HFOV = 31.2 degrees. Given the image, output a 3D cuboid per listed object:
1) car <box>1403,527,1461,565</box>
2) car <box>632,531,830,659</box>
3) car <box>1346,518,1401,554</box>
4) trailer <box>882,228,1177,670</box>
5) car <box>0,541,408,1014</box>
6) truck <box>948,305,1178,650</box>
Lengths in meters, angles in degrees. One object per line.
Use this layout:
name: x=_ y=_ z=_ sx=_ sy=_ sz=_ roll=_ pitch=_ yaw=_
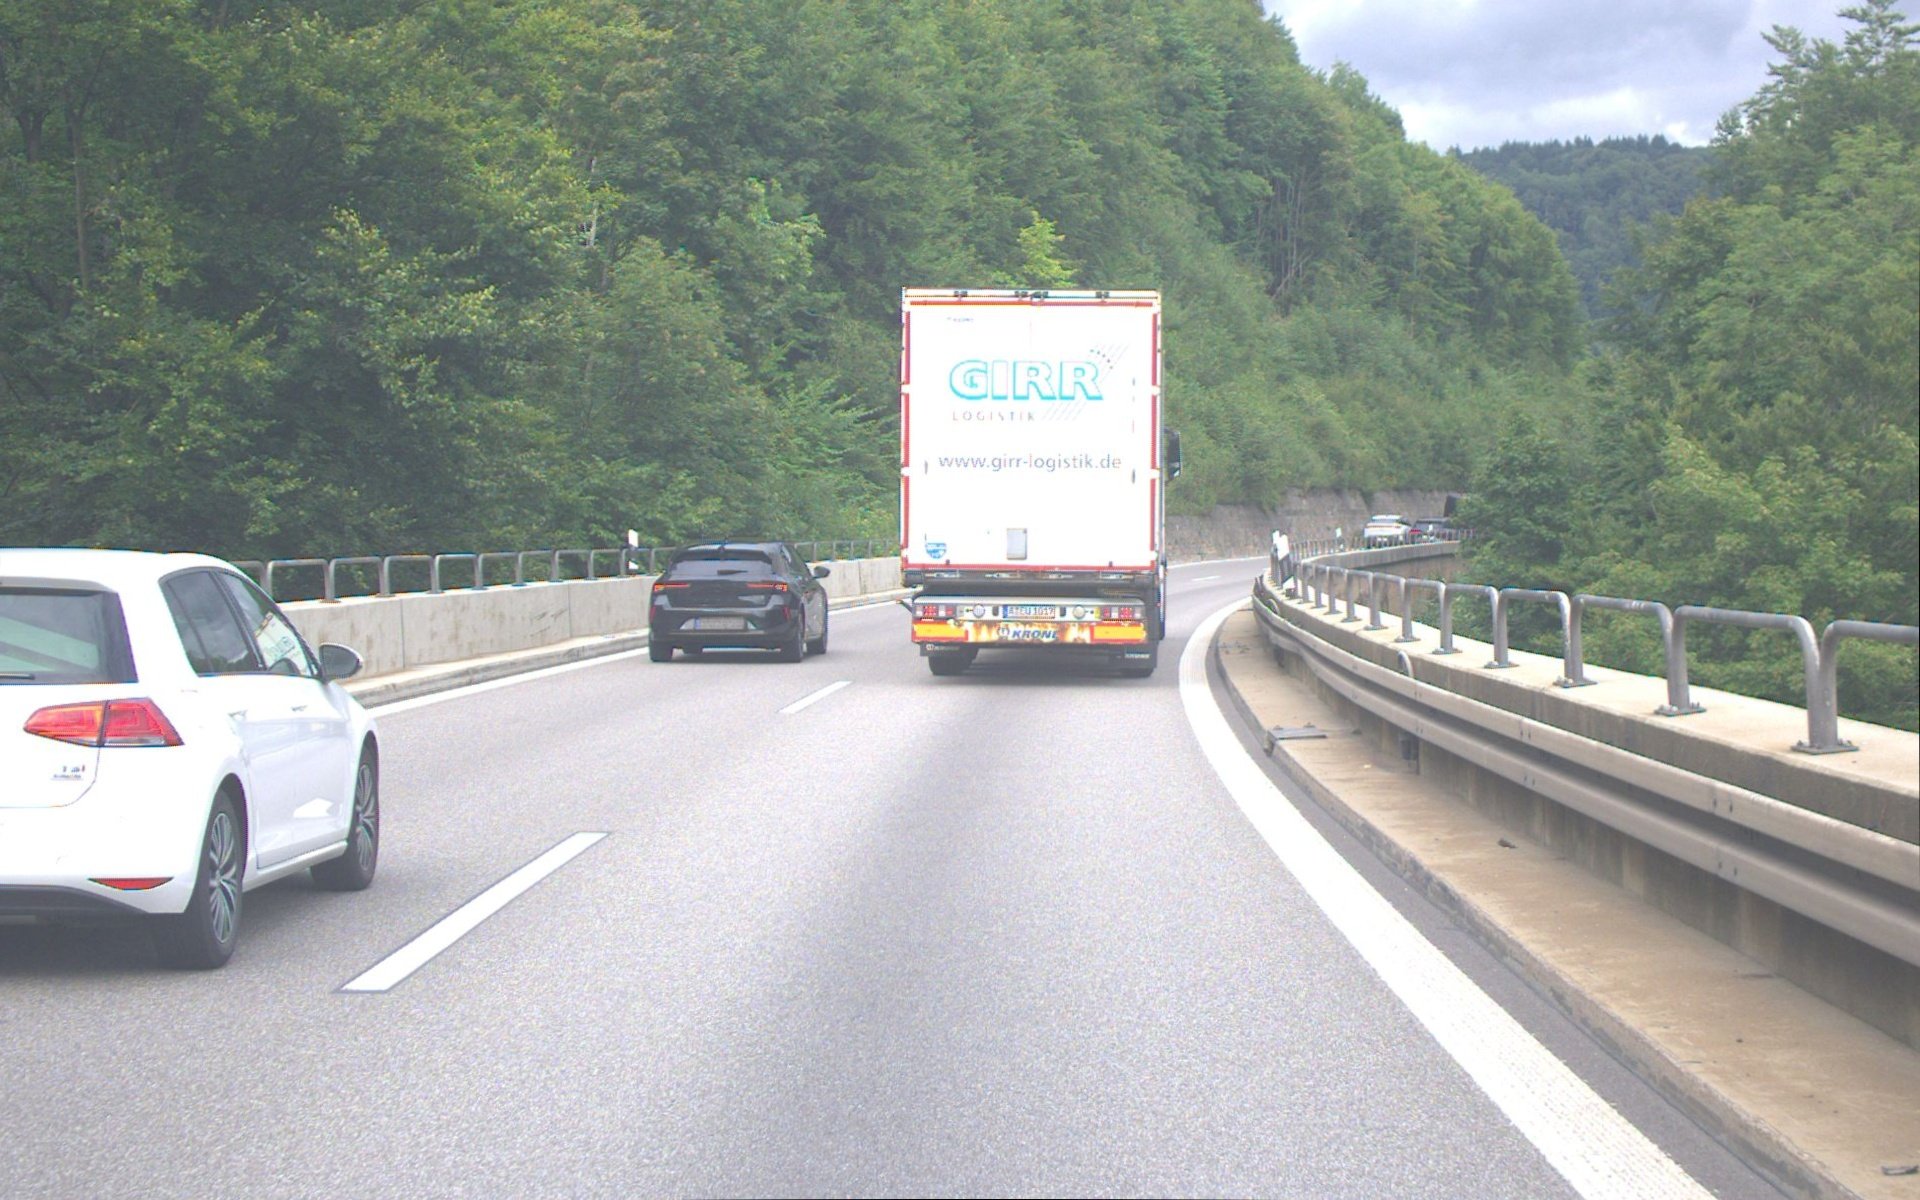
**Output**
car: x=20.545 y=-2.332 z=149.529 sx=1.995 sy=1.560 sz=3.997 roll=0 pitch=0 yaw=15
car: x=-2.696 y=-0.077 z=41.483 sx=1.773 sy=1.456 sz=4.581 roll=0 pitch=1 yaw=4
car: x=19.094 y=-2.954 z=158.606 sx=1.995 sy=1.560 sz=3.997 roll=0 pitch=0 yaw=15
trailer: x=1.058 y=-1.504 z=39.776 sx=2.813 sy=4.288 sz=12.243 roll=-1 pitch=0 yaw=4
car: x=-3.389 y=0.520 z=13.148 sx=1.845 sy=1.476 sz=4.628 roll=0 pitch=1 yaw=0
truck: x=1.489 y=-1.548 z=46.211 sx=2.813 sy=4.288 sz=6.258 roll=-1 pitch=0 yaw=4
